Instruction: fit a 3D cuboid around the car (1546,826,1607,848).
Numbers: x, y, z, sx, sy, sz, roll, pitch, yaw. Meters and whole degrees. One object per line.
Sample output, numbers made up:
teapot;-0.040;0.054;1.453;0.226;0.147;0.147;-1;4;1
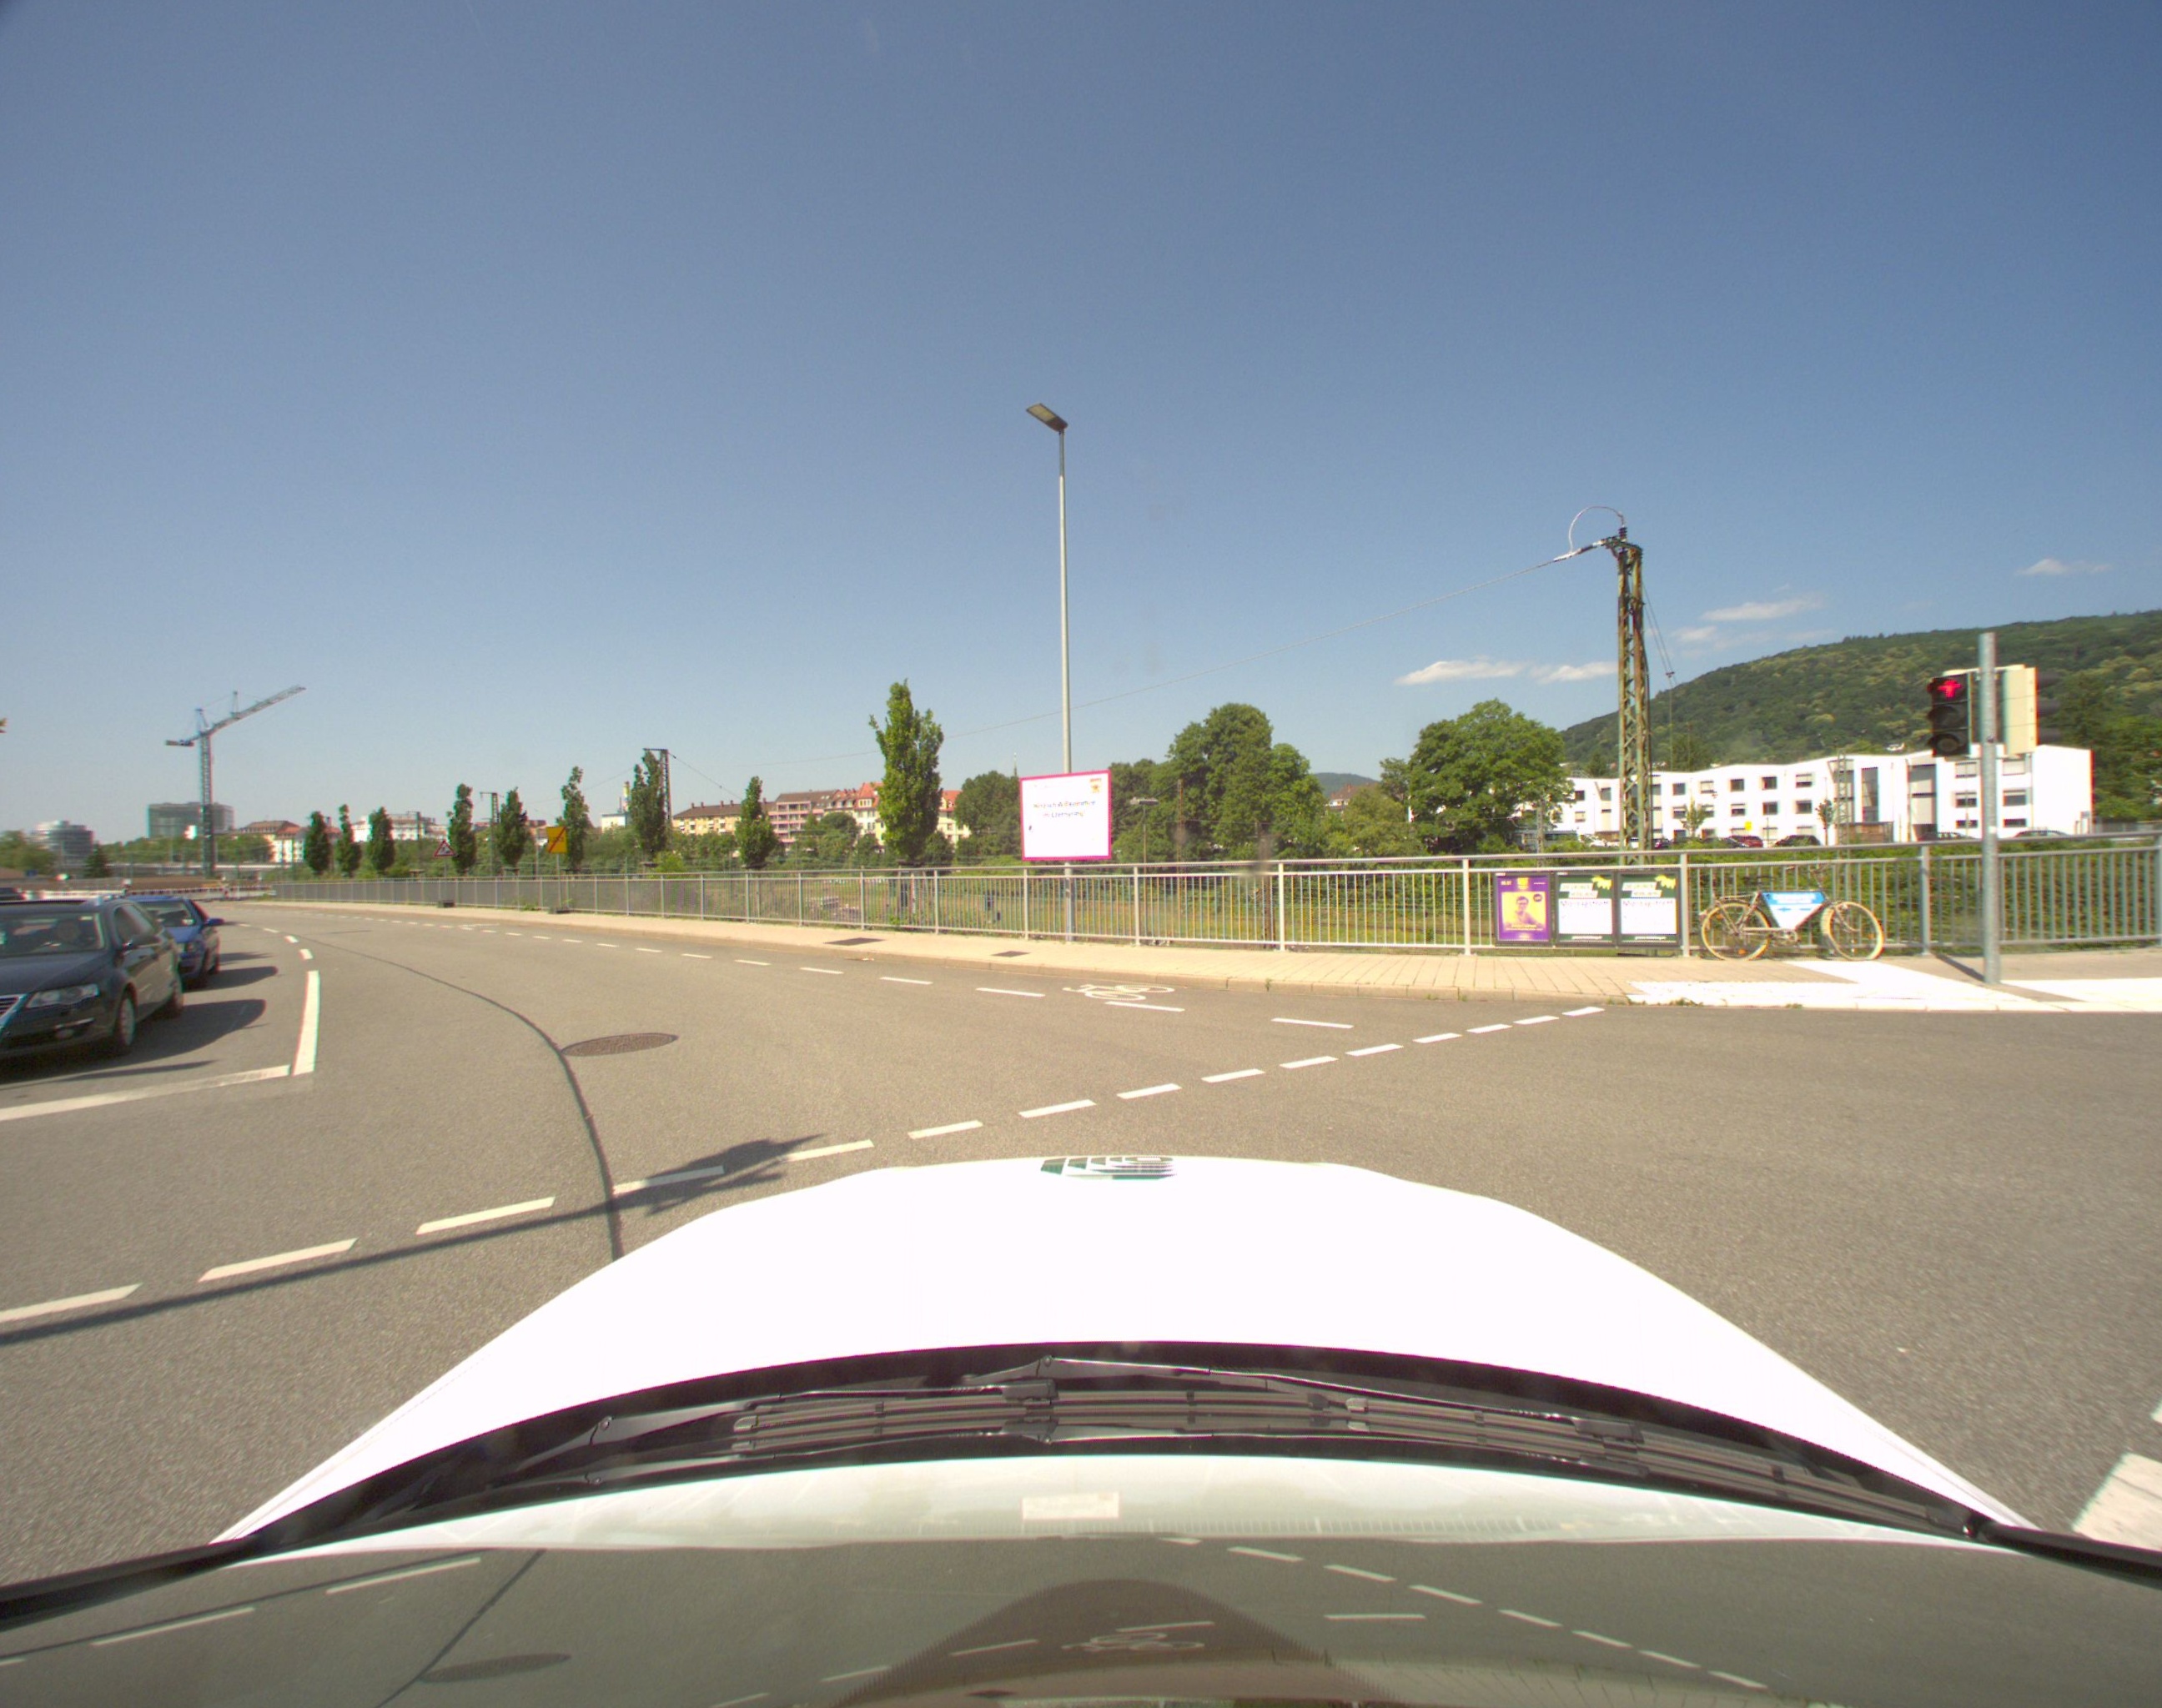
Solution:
car;50.079;-1.703;82.440;4.928;2.112;2.012;-1;1;43

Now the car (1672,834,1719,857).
car;58.335;-0.810;77.277;4.484;2.013;1.981;-2;0;-30

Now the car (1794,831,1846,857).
car;62.590;-0.860;68.952;4.484;2.013;1.981;-2;0;-30

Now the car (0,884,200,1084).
car;-10.389;1.126;8.070;1.795;1.496;4.665;-2;1;-42

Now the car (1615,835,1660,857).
car;56.865;-0.823;83.209;4.484;2.013;1.981;-2;0;-30

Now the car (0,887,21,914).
car;-71.484;3.079;53.280;4.553;1.695;1.969;-1;0;30

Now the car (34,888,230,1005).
car;-14.427;1.287;12.587;3.950;1.381;1.671;-1;1;45

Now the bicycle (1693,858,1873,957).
bicycle;8.133;0.621;9.477;1.603;1.100;0.299;-2;0;14

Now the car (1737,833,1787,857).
car;60.791;-0.841;72.661;4.484;2.013;1.981;-2;0;-30
